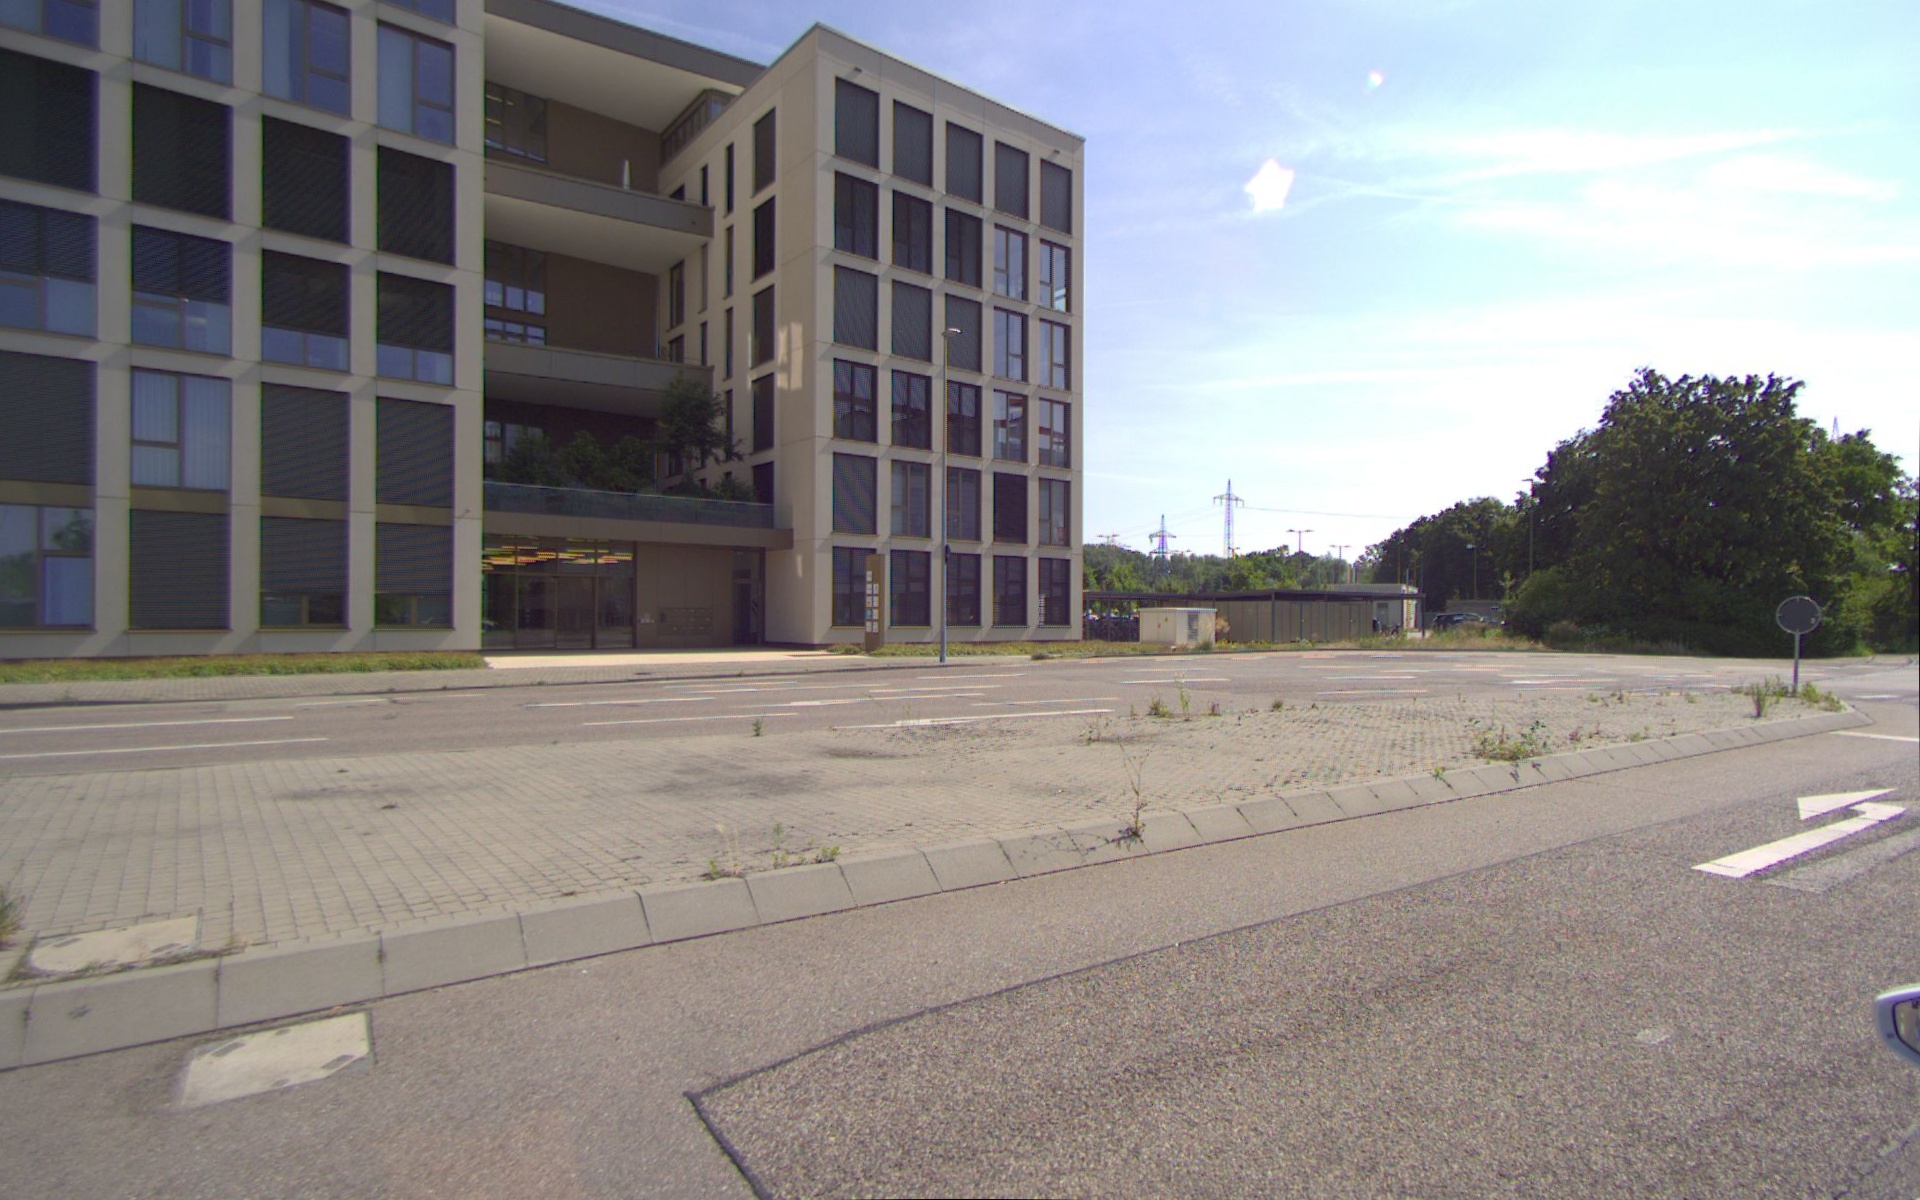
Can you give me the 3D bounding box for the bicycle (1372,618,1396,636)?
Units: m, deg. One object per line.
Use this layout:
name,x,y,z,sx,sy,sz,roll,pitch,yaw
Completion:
bicycle,26.336,1.683,62.353,1.691,1.106,0.583,1,-1,-35

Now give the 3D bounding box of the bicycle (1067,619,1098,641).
bicycle,6.291,1.537,51.817,0.583,1.106,1.690,1,0,-36

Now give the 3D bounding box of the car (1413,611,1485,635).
car,31.618,1.504,64.966,4.043,1.439,1.724,1,-2,33

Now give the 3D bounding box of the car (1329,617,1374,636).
car,24.786,1.678,63.530,2.800,1.128,1.249,1,-1,-33

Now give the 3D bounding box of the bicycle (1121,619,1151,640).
bicycle,9.521,1.597,54.307,0.583,1.106,1.690,1,0,-36

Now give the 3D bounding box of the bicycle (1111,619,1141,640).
bicycle,8.888,1.582,53.817,0.583,1.106,1.690,1,0,-36

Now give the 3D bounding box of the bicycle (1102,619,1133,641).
bicycle,8.383,1.577,53.430,0.583,1.106,1.690,1,0,-36

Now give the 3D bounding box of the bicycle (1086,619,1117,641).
bicycle,7.450,1.552,52.953,0.583,1.106,1.690,1,0,-36
